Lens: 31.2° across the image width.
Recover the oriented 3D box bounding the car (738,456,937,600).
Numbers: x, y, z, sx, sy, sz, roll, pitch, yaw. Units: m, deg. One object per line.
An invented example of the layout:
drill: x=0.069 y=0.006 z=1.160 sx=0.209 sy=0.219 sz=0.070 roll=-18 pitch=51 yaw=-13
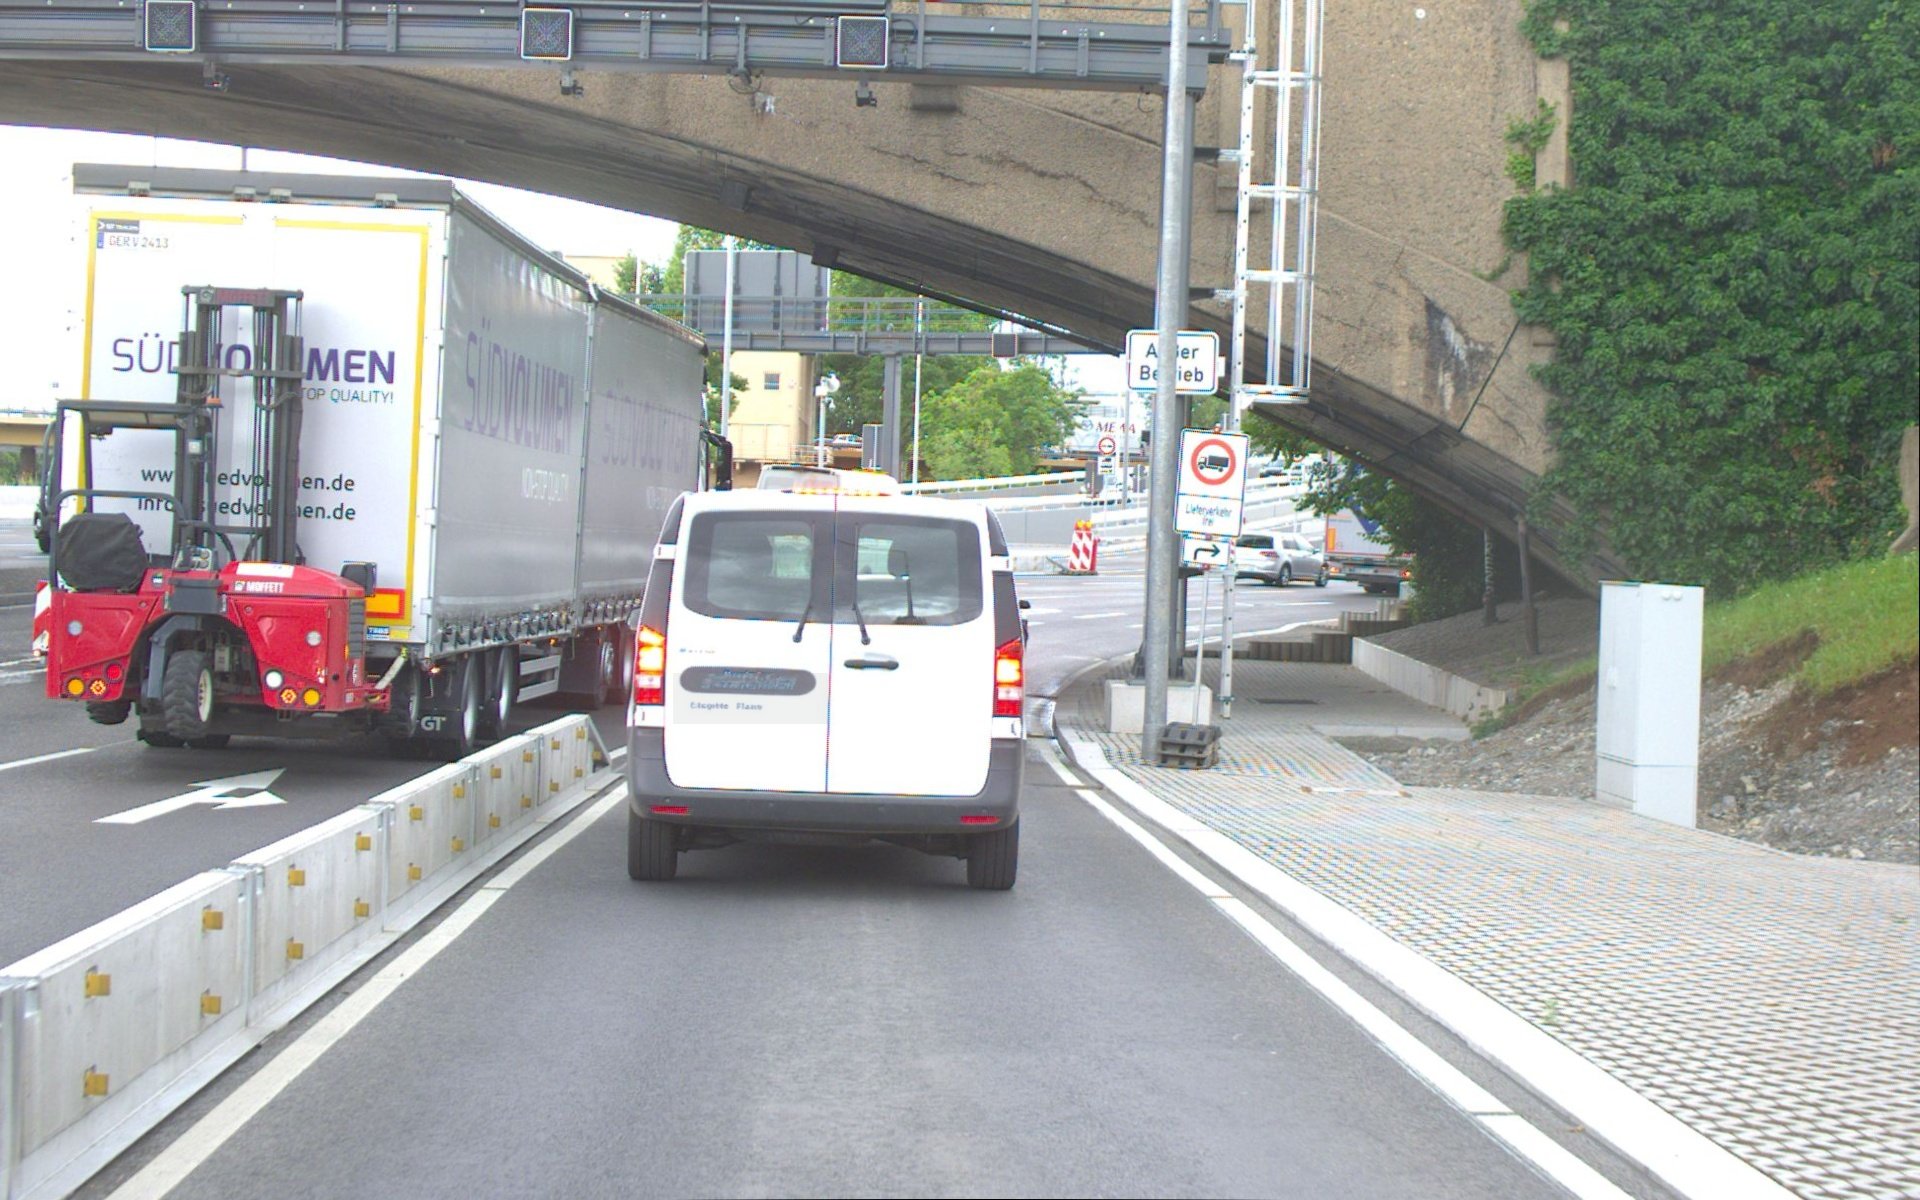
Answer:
car: x=-2.300 y=-1.379 z=66.335 sx=1.995 sy=2.533 sz=5.169 roll=5 pitch=2 yaw=18

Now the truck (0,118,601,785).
truck: x=-4.846 y=-0.920 z=26.383 sx=2.917 sy=4.003 sz=10.200 roll=3 pitch=0 yaw=0

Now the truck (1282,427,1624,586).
truck: x=13.798 y=-2.403 z=94.010 sx=3.322 sy=3.796 sz=16.566 roll=5 pitch=2 yaw=29

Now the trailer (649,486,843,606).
trailer: x=-3.805 y=-0.979 z=61.980 sx=1.995 sy=1.950 sz=4.075 roll=5 pitch=2 yaw=18

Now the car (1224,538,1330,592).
car: x=8.514 y=-0.949 z=92.171 sx=1.375 sy=1.371 sz=3.456 roll=3 pitch=2 yaw=32

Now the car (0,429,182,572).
car: x=-16.261 y=-1.807 z=64.509 sx=1.962 sy=2.007 sz=5.188 roll=-3 pitch=-5 yaw=1

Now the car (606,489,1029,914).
car: x=-0.636 y=0.410 z=17.815 sx=1.876 sy=1.884 sz=4.753 roll=1 pitch=1 yaw=0

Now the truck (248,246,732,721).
truck: x=-4.628 y=-1.022 z=36.703 sx=2.988 sy=4.162 sz=11.239 roll=3 pitch=0 yaw=2
